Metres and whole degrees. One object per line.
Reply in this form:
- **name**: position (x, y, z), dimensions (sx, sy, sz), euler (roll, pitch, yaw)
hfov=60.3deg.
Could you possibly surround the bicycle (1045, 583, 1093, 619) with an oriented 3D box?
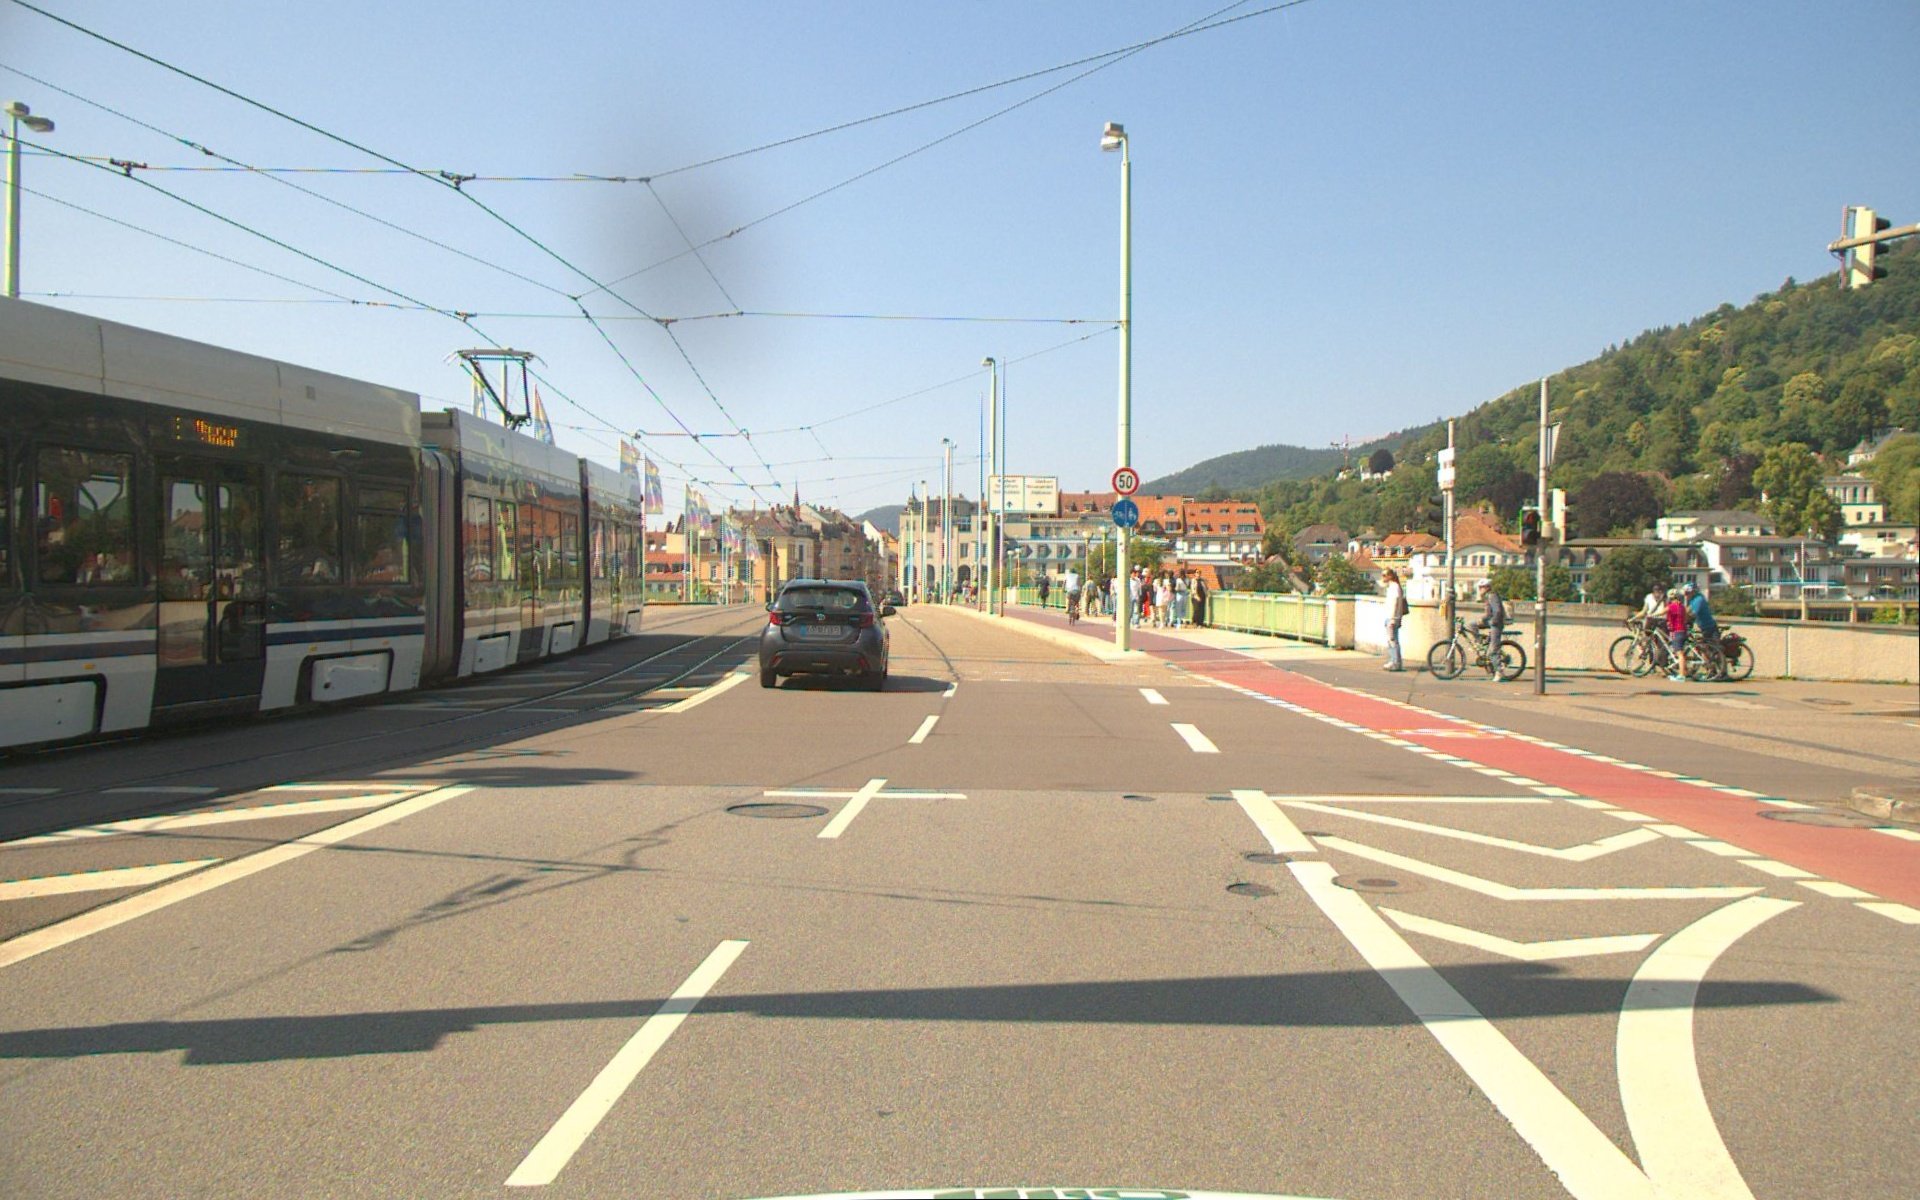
- **bicycle**: position (3.416, 0.010, 52.303), dimensions (0.777, 1.115, 3.738), euler (0, 0, -8)

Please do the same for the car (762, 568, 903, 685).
- **car**: position (-1.913, 0.328, 24.205), dimensions (1.873, 1.567, 3.995), euler (0, 1, -6)

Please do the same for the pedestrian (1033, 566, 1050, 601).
- **pedestrian**: position (4.200, -0.847, 85.538), dimensions (0.643, 1.774, 0.976), euler (0, 1, -10)

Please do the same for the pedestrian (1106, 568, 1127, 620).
- **pedestrian**: position (5.532, -0.204, 58.437), dimensions (0.574, 1.825, 0.631), euler (0, 0, -9)

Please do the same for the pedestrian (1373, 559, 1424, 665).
- **pedestrian**: position (7.937, 0.208, 29.959), dimensions (0.758, 1.888, 0.644), euler (0, 0, -1)

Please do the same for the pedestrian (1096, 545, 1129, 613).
- **pedestrian**: position (4.637, -0.622, 50.322), dimensions (0.788, 2.049, 0.952), euler (0, 0, -10)

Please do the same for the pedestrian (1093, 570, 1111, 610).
- **pedestrian**: position (5.653, -0.408, 65.939), dimensions (0.636, 1.589, 0.692), euler (-1, 1, 1)

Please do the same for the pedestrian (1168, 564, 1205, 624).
- **pedestrian**: position (6.490, -0.166, 47.390), dimensions (0.818, 1.706, 0.884), euler (0, 0, -10)

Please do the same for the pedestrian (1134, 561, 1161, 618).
- **pedestrian**: position (5.613, -0.321, 49.563), dimensions (0.641, 1.678, 0.867), euler (0, 0, -7)

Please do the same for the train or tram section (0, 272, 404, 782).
- **train or tram section**: position (-8.209, -0.586, 14.166), dimensions (2.483, 3.843, 9.178), euler (0, 1, 10)

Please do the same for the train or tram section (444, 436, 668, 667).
- **train or tram section**: position (-7.777, -0.935, 33.495), dimensions (2.421, 3.843, 11.841), euler (0, 1, -4)

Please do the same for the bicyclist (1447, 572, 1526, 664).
- **bicyclist**: position (8.964, 0.295, 28.180), dimensions (1.057, 1.499, 0.800), euler (2, 1, 0)

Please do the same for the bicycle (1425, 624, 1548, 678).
- **bicycle**: position (8.965, 0.862, 28.199), dimensions (1.899, 0.841, 0.565), euler (2, 1, 0)

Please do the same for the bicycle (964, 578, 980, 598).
- **bicycle**: position (0.770, -0.765, 105.084), dimensions (0.682, 1.214, 2.075), euler (0, 0, -8)

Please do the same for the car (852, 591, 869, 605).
- **car**: position (-12.635, -0.205, 209.614), dimensions (1.955, 1.747, 3.995), euler (0, 0, -6)

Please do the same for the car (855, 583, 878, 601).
- **car**: position (-8.073, -0.645, 143.049), dimensions (1.769, 1.494, 3.994), euler (-1, 0, -6)

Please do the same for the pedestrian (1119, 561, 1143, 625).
- **pedestrian**: position (4.946, -0.201, 47.967), dimensions (0.539, 1.830, 0.644), euler (0, 0, -10)

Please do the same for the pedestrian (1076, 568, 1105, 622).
- **pedestrian**: position (5.002, -0.188, 63.340), dimensions (0.858, 2.049, 1.057), euler (0, 0, -10)

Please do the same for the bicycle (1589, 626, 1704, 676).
- **bicycle**: position (12.782, 0.939, 30.816), dimensions (1.899, 0.841, 0.565), euler (2, 1, 0)

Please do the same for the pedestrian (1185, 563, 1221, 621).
- **pedestrian**: position (6.959, -0.231, 47.415), dimensions (0.784, 1.663, 0.948), euler (0, 0, -10)

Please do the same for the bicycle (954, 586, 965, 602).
- **bicycle**: position (-0.040, -0.393, 111.534), dimensions (0.606, 1.056, 2.049), euler (0, 0, -5)

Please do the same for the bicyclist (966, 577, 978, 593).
- **bicyclist**: position (0.763, -0.953, 105.057), dimensions (0.654, 1.063, 0.978), euler (0, 1, -10)

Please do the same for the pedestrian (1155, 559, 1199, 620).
- **pedestrian**: position (6.487, -0.320, 49.554), dimensions (0.967, 1.800, 1.251), euler (-1, 1, -9)

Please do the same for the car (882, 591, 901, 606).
- **car**: position (-6.815, -0.162, 165.196), dimensions (1.767, 1.494, 3.999), euler (-1, 0, -1)

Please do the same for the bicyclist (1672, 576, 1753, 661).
- **bicyclist**: position (13.746, 0.322, 30.229), dimensions (1.057, 1.499, 0.928), euler (2, 1, 4)

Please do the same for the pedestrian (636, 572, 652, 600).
- **pedestrian**: position (-23.492, -1.053, 123.020), dimensions (1.076, 2.049, 1.293), euler (0, 0, -6)

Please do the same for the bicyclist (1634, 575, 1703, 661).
- **bicyclist**: position (12.767, 0.315, 29.826), dimensions (1.057, 1.499, 0.762), euler (2, 1, 21)

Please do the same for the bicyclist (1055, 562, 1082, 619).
- **bicyclist**: position (3.419, -0.294, 52.218), dimensions (0.660, 1.774, 1.148), euler (0, 0, -8)

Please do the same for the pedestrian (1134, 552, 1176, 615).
- **pedestrian**: position (5.572, -0.457, 47.310), dimensions (0.967, 1.781, 0.928), euler (0, 0, -10)

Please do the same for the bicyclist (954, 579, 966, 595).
- **bicyclist**: position (-0.002, -0.862, 111.520), dimensions (0.721, 1.048, 1.174), euler (0, 0, -6)

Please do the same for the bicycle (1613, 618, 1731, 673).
- **bicycle**: position (12.791, 0.809, 29.758), dimensions (1.899, 0.868, 0.565), euler (2, 1, 20)

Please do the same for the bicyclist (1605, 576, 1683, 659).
- **bicyclist**: position (12.752, 0.312, 30.864), dimensions (1.057, 1.499, 0.928), euler (2, 1, 3)

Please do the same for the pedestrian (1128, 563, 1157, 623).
- **pedestrian**: position (5.359, -0.199, 48.591), dimensions (0.683, 1.746, 0.730), euler (0, 0, -10)

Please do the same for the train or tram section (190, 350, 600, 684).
- **train or tram section**: position (-7.393, -1.035, 23.397), dimensions (2.354, 3.745, 9.621), euler (0, 1, 1)
